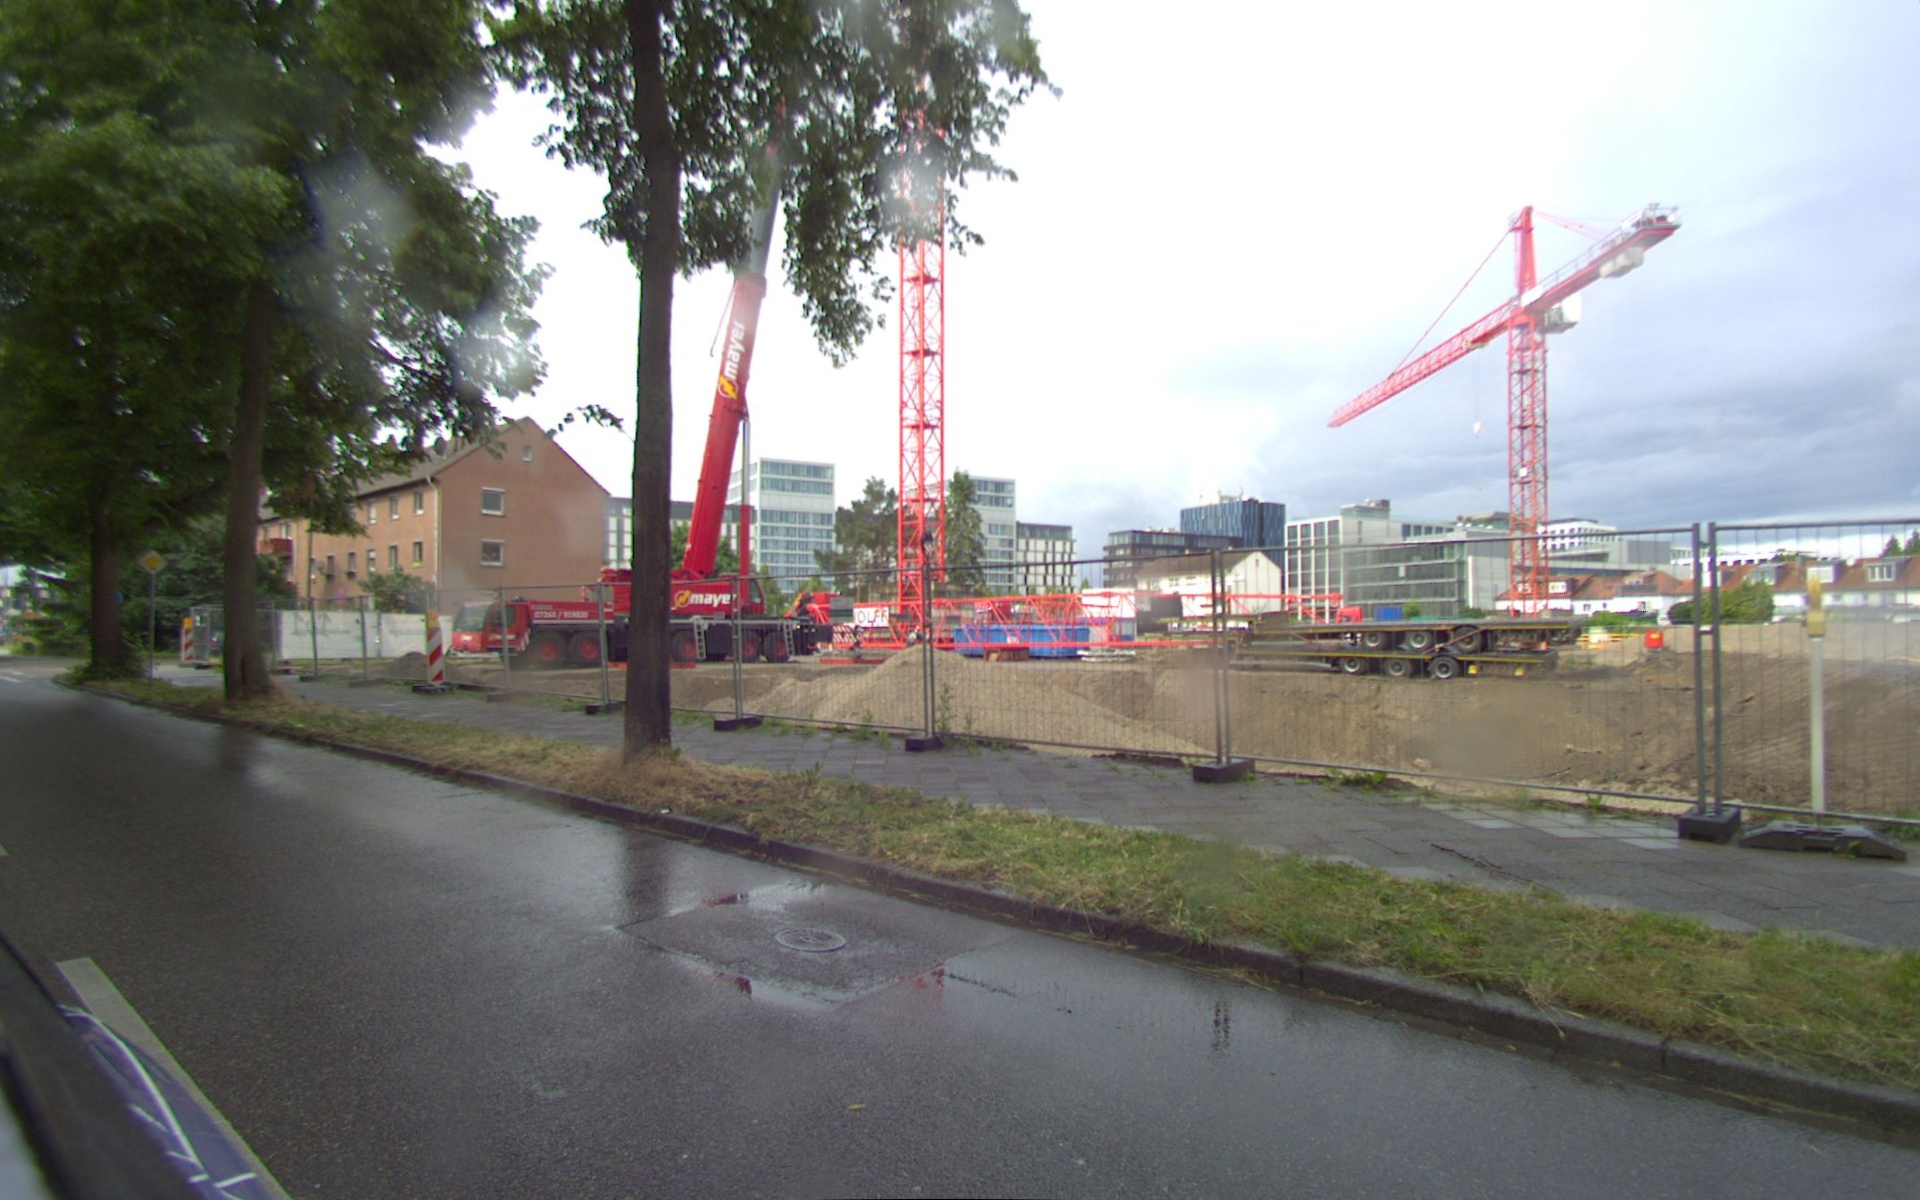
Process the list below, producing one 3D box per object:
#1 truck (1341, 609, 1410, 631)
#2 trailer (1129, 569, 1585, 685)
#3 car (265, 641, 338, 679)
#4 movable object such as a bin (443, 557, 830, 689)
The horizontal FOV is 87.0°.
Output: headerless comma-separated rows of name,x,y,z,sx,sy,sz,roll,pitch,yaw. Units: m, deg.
truck,41.250,1.957,100.501,6.291,2.095,1.884,-1,0,25
trailer,12.761,0.814,34.562,14.301,3.257,2.930,-1,2,41
car,-30.461,2.748,46.786,3.995,1.541,1.672,-1,0,39
movable object such as a bin,-12.550,0.743,42.037,3.102,4.592,15.729,-1,0,44
